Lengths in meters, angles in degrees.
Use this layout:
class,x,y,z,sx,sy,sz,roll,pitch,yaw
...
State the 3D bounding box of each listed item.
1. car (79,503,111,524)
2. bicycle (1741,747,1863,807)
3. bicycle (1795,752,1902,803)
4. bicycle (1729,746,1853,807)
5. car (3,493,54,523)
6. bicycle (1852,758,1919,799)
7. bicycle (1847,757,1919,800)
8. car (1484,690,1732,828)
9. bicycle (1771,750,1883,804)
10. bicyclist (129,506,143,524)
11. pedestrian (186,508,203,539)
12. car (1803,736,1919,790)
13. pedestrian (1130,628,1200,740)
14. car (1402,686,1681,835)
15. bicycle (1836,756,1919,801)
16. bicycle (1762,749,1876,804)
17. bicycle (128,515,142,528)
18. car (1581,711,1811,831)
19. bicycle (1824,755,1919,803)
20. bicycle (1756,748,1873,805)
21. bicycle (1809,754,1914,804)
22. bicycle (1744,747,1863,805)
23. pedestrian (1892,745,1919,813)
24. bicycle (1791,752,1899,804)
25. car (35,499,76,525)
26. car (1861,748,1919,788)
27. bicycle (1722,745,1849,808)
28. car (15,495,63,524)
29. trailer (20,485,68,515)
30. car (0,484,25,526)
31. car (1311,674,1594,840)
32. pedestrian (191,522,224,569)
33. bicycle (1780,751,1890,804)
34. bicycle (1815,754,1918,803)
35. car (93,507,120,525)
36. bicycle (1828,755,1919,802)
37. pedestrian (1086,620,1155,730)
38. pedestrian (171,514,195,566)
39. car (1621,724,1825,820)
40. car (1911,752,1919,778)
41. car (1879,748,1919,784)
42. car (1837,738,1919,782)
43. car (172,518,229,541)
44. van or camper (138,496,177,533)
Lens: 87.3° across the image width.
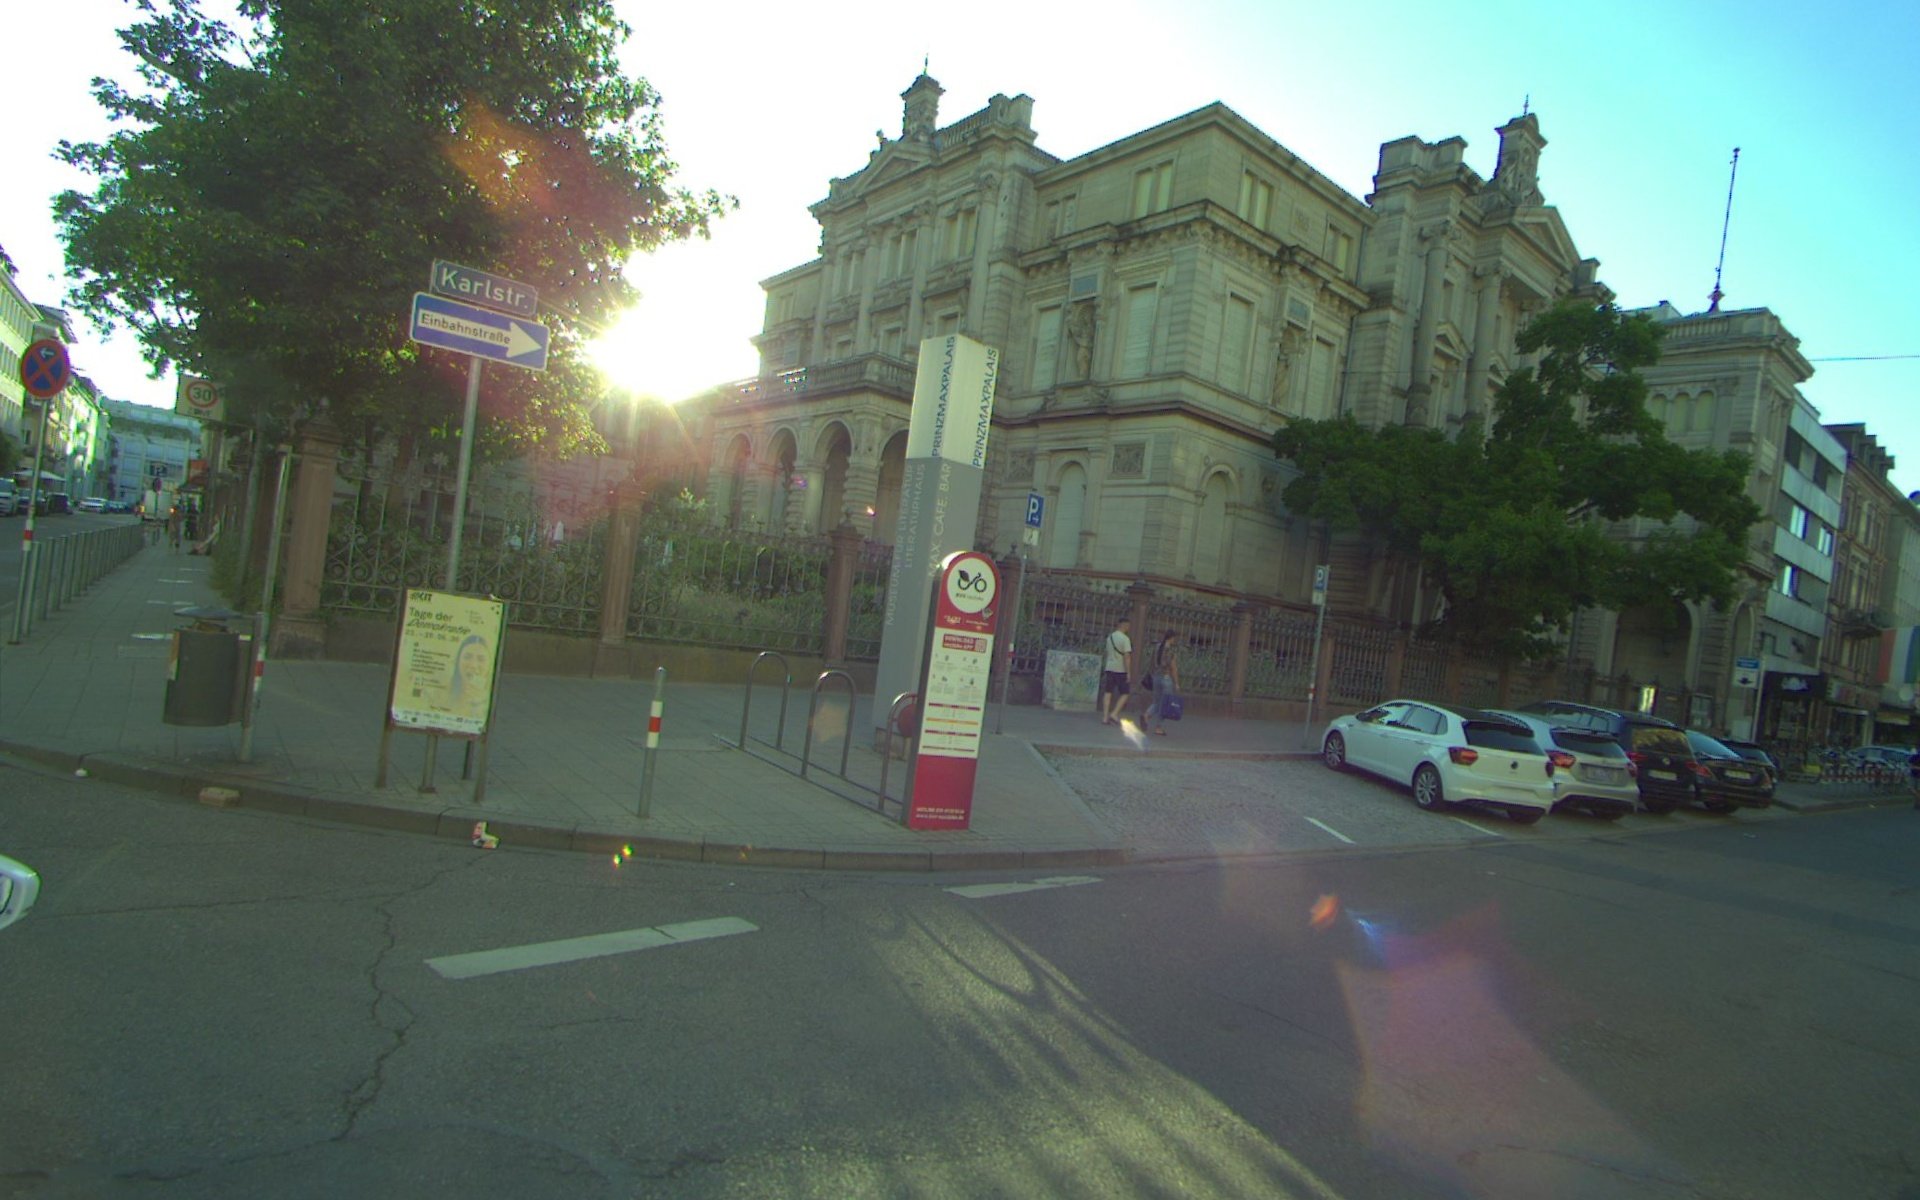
class,x,y,z,sx,sy,sz,roll,pitch,yaw
car,-84.021,-8.396,97.774,1.984,1.703,3.959,8,-2,-38
bicycle,21.868,4.574,26.181,0.712,1.103,2.275,8,-1,-41
bicycle,26.866,5.353,30.447,0.712,1.103,2.275,8,-1,-41
bicycle,21.007,4.441,25.473,0.712,1.103,2.275,8,-1,-41
car,-55.471,-5.477,59.981,1.876,1.470,3.956,8,-1,-39
bicycle,32.558,6.227,34.917,0.712,1.103,2.275,8,-1,-41
bicycle,31.815,6.110,34.237,0.712,1.103,2.275,8,-1,-41
car,11.818,2.828,18.723,1.723,1.742,3.998,7,0,-2
bicycle,24.649,5.010,28.633,0.712,1.103,2.275,8,-1,-41
bicyclist,-92.440,-9.559,112.876,0.985,1.891,0.701,7,-1,-38
pedestrian,-42.548,-4.250,55.918,0.658,1.687,0.617,5,2,-38
car,34.925,6.249,38.310,1.741,1.429,3.960,8,-2,-37
pedestrian,3.320,1.355,16.252,0.632,1.691,0.703,9,1,38
car,9.503,2.565,16.887,1.726,1.545,3.989,7,2,-10
bicycle,31.011,5.991,33.767,0.712,1.103,2.275,8,-1,-41
bicycle,23.932,4.900,28.068,0.712,1.103,2.275,8,-1,-41
bicycle,-92.594,-8.783,112.950,0.970,1.295,2.726,8,-1,-38
car,14.267,3.250,19.815,1.722,1.626,4.004,7,-2,6
bicycle,29.478,5.752,32.454,0.712,1.103,2.275,8,-1,-41
bicycle,23.255,4.792,27.420,0.712,1.103,2.275,8,-1,-41
bicycle,27.831,5.497,31.091,0.712,1.103,2.275,8,-1,-41
bicycle,22.459,4.671,26.832,0.712,1.103,2.275,8,-1,-41
pedestrian,26.663,5.002,27.822,0.994,1.771,0.964,7,0,-36
bicycle,26.245,5.254,29.873,0.712,1.103,2.275,8,-1,-41
car,-63.670,-6.172,70.864,1.876,1.470,3.956,8,-1,-39
car,43.152,7.694,44.970,1.741,1.429,3.960,8,-2,-37
bicycle,20.401,4.345,24.912,0.712,1.103,2.275,8,-1,-41
car,-58.288,-5.728,63.731,1.876,1.470,3.956,8,-1,-39
trailer,-60.934,-6.609,66.980,1.985,1.575,3.957,8,-2,-39
car,-48.735,-4.890,50.734,1.876,1.935,4.695,8,-1,-40
car,7.216,2.241,15.253,1.726,1.466,3.898,7,3,-10
pedestrian,-25.957,-1.883,34.712,0.746,1.519,0.611,5,2,-44
bicycle,25.368,5.120,29.202,0.712,1.103,2.275,8,-1,-41
bicycle,28.497,5.601,31.665,0.712,1.103,2.275,8,-1,-41
car,-97.838,-9.612,115.362,1.984,1.703,3.959,8,-2,-38
bicycle,30.106,5.852,33.042,0.712,1.103,2.275,8,-1,-41
pedestrian,2.631,1.233,16.489,0.632,1.691,0.703,9,1,38
pedestrian,-26.641,-2.057,34.483,0.611,1.679,0.482,7,2,45
car,17.067,3.790,22.779,1.722,1.429,4.004,7,-2,6
car,55.035,9.379,54.975,1.730,1.429,3.984,8,-2,-19
car,46.239,8.071,47.463,1.741,1.429,3.960,8,-2,-37
car,40.509,6.965,43.183,1.741,1.429,3.960,8,-2,-37
car,-68.633,-6.401,90.997,3.969,1.436,1.639,9,-2,-38
van or camper,-64.231,-6.792,80.595,2.244,2.642,5.059,2,2,-38
